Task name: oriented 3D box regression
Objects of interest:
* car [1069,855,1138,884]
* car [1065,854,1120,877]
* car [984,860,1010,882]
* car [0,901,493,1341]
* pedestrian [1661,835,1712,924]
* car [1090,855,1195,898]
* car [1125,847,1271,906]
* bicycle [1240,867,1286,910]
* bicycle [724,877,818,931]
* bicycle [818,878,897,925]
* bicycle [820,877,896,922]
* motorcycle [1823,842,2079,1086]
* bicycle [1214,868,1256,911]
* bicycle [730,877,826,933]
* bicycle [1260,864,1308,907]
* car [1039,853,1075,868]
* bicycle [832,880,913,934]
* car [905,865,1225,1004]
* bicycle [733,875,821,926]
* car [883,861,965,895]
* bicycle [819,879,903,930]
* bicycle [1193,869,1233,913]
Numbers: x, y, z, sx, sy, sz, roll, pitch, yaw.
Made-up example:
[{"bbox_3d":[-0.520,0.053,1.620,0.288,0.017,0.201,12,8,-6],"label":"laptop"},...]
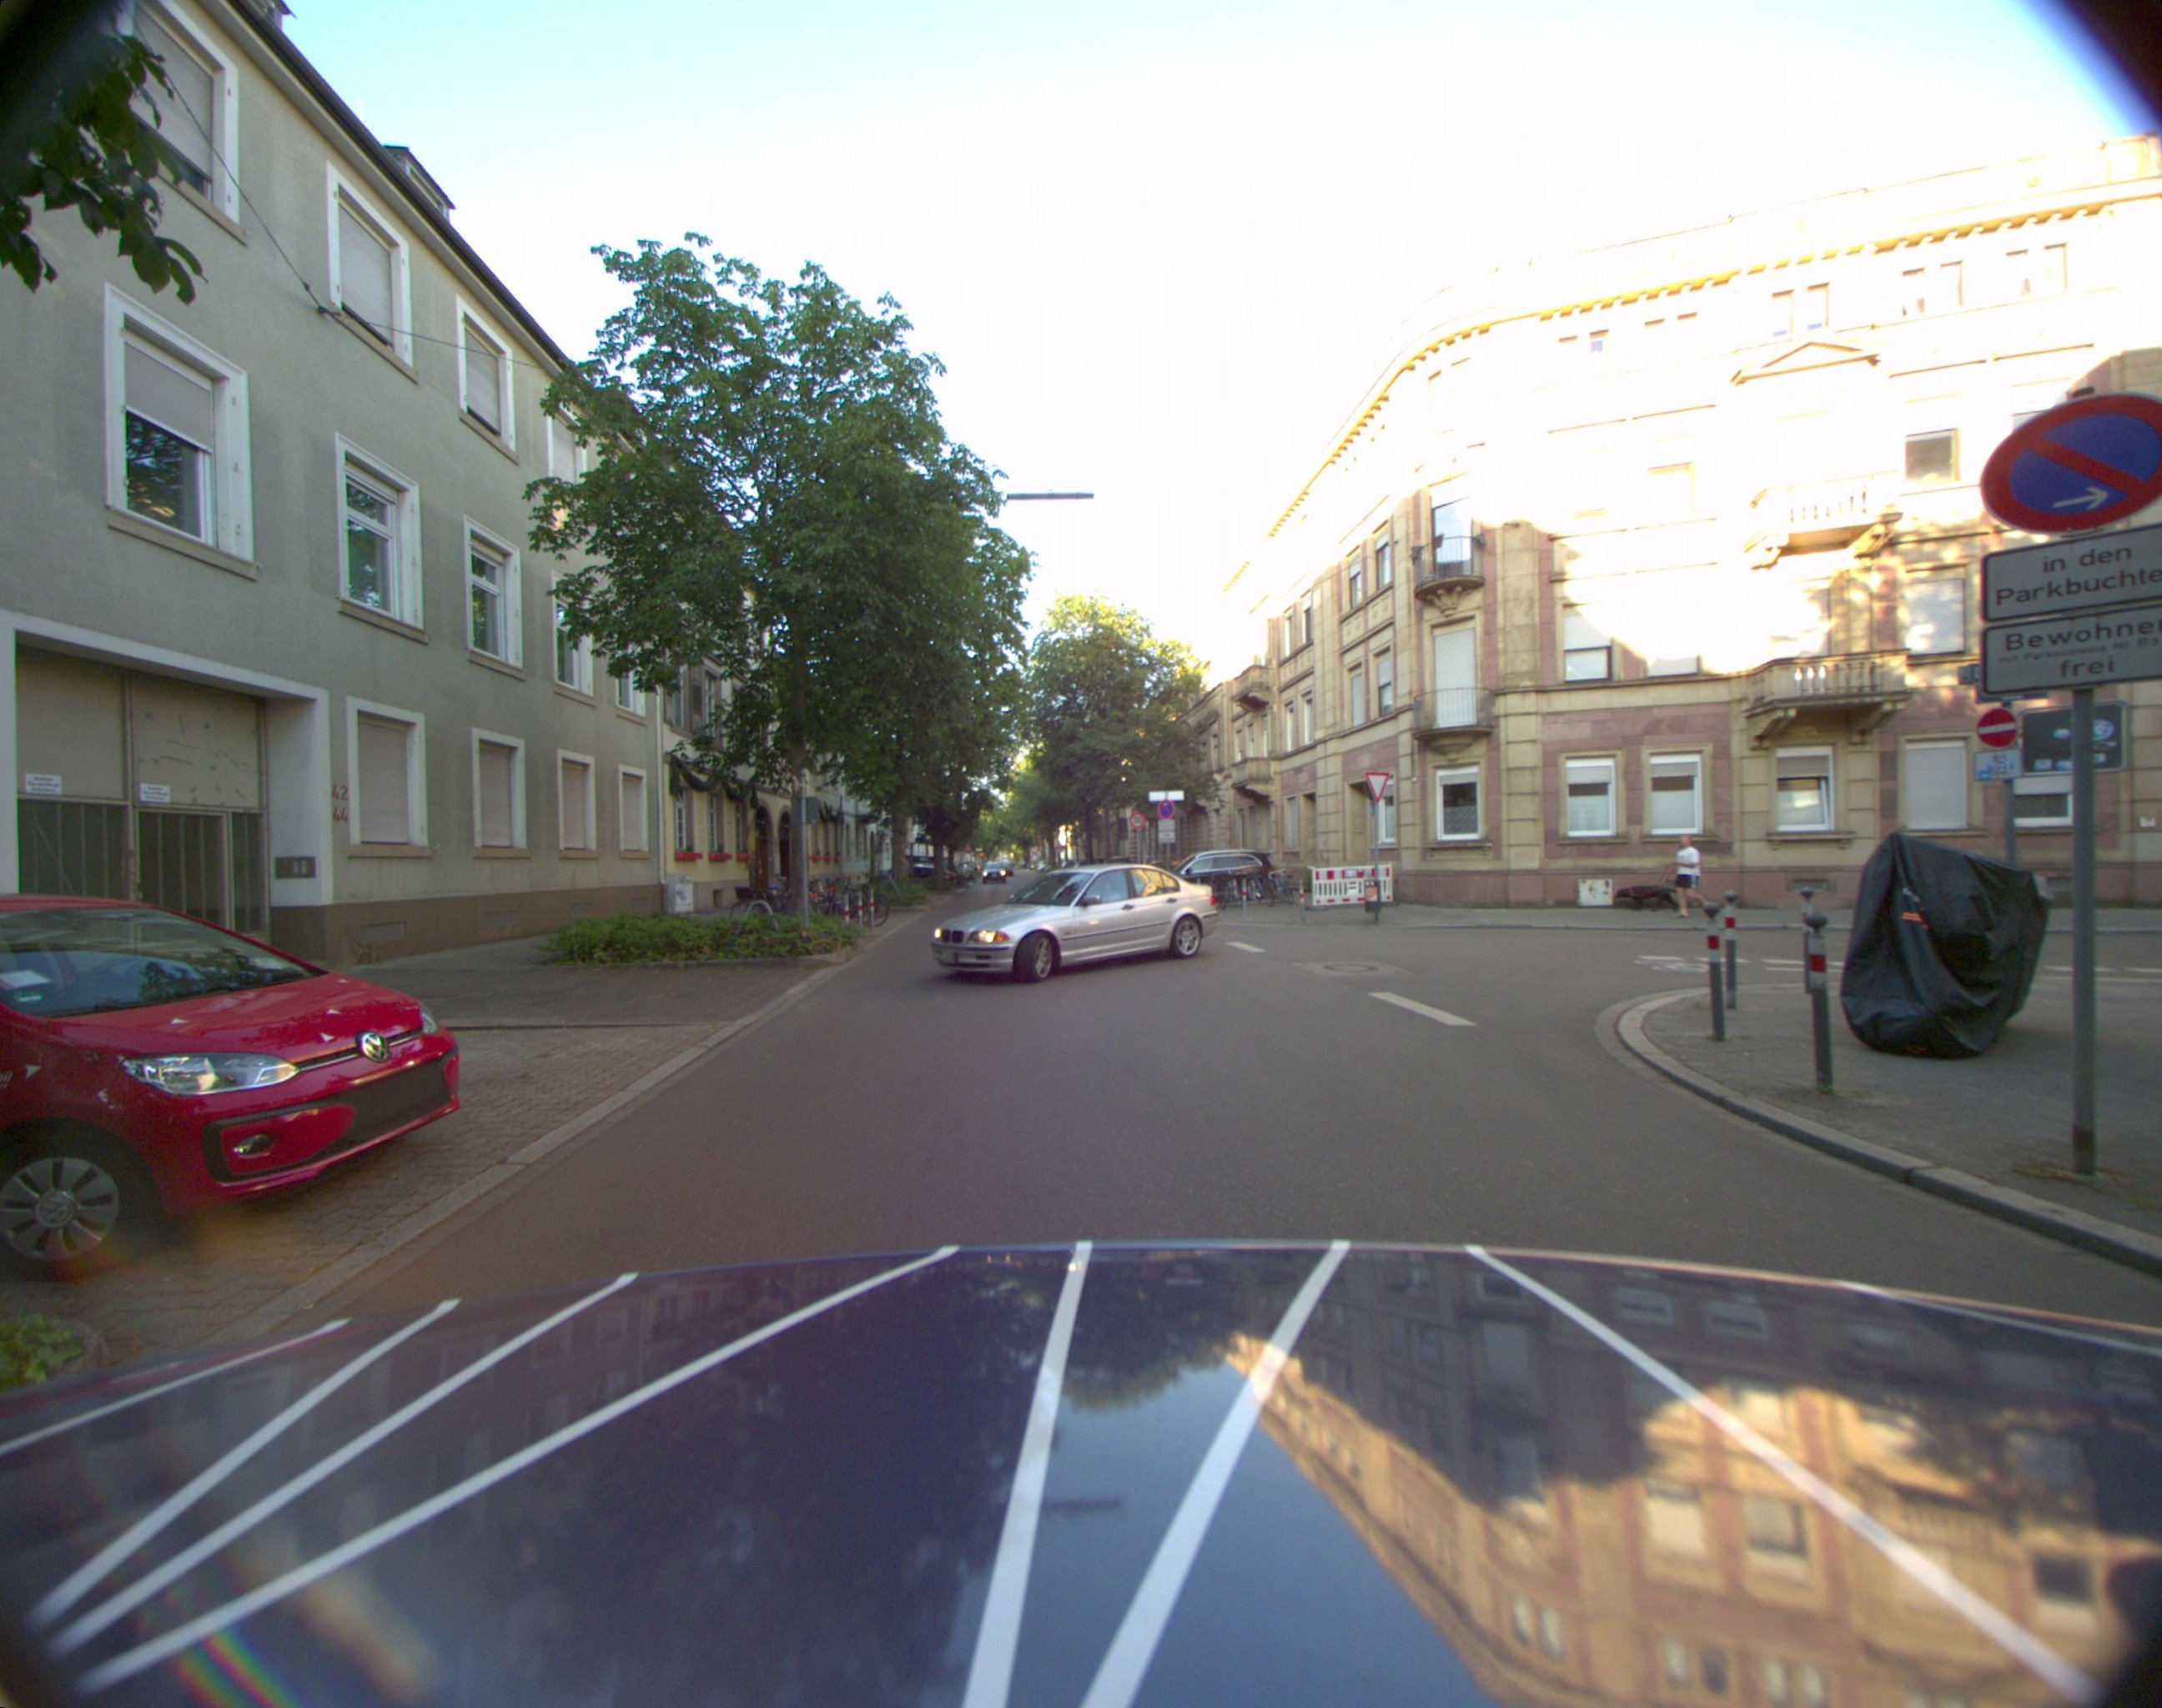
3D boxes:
[{"bbox_3d":[1.406,0.971,48.379,4.245,1.749,1.741,-1,0,-5],"label":"car"},{"bbox_3d":[0.860,0.884,60.850,4.245,1.749,1.741,-1,0,-5],"label":"car"},{"bbox_3d":[-6.427,1.279,58.704,1.806,1.543,3.998,-1,0,-4],"label":"car"},{"bbox_3d":[-5.167,1.043,3.410,3.621,1.468,1.663,-1,0,-7],"label":"car"},{"bbox_3d":[12.515,0.514,15.716,0.650,1.797,0.574,-1,1,18],"label":"pedestrian"},{"bbox_3d":[2.527,0.932,32.087,4.243,1.668,1.742,-1,0,-1],"label":"car"},{"bbox_3d":[3.722,0.691,24.639,4.422,1.771,1.742,-1,0,-1],"label":"car"},{"bbox_3d":[5.173,0.964,21.769,0.562,1.144,2.038,-1,0,-8],"label":"bicycle"},{"bbox_3d":[-7.497,1.185,18.450,2.030,1.220,0.535,-1,0,-16],"label":"bicycle"},{"bbox_3d":[-6.130,1.291,20.918,2.029,1.220,0.535,-1,0,-11],"label":"bicycle"},{"bbox_3d":[-6.372,1.291,21.788,2.029,1.220,0.535,-1,0,-11],"label":"bicycle"},{"bbox_3d":[6.493,0.678,5.636,2.286,1.496,0.816,-1,1,-30],"label":"motorcycle"},{"bbox_3d":[4.379,0.987,21.727,0.562,1.144,2.038,-1,0,-6],"label":"bicycle"},{"bbox_3d":[-7.037,1.175,17.748,2.030,1.220,0.535,-1,0,-16],"label":"bicycle"},{"bbox_3d":[5.791,0.885,21.818,0.562,1.144,2.038,-1,0,-8],"label":"bicycle"},{"bbox_3d":[-2.959,0.741,92.537,4.245,1.749,1.741,-1,0,-5],"label":"car"},{"bbox_3d":[-5.040,1.260,18.397,1.849,1.220,0.535,-1,0,-16],"label":"bicycle"},{"bbox_3d":[-0.026,0.927,10.603,4.444,1.433,1.708,-1,0,-43],"label":"car"},{"bbox_3d":[-7.818,1.185,19.596,2.029,1.220,0.535,-1,0,-13],"label":"bicycle"},{"bbox_3d":[-8.558,1.286,41.669,4.245,1.729,1.741,-1,0,-6],"label":"car"},{"bbox_3d":[-5.664,1.287,19.637,2.029,1.220,0.535,-1,0,-11],"label":"bicycle"},{"bbox_3d":[3.741,1.031,21.659,0.562,1.144,2.038,-1,0,-6],"label":"bicycle"}]
